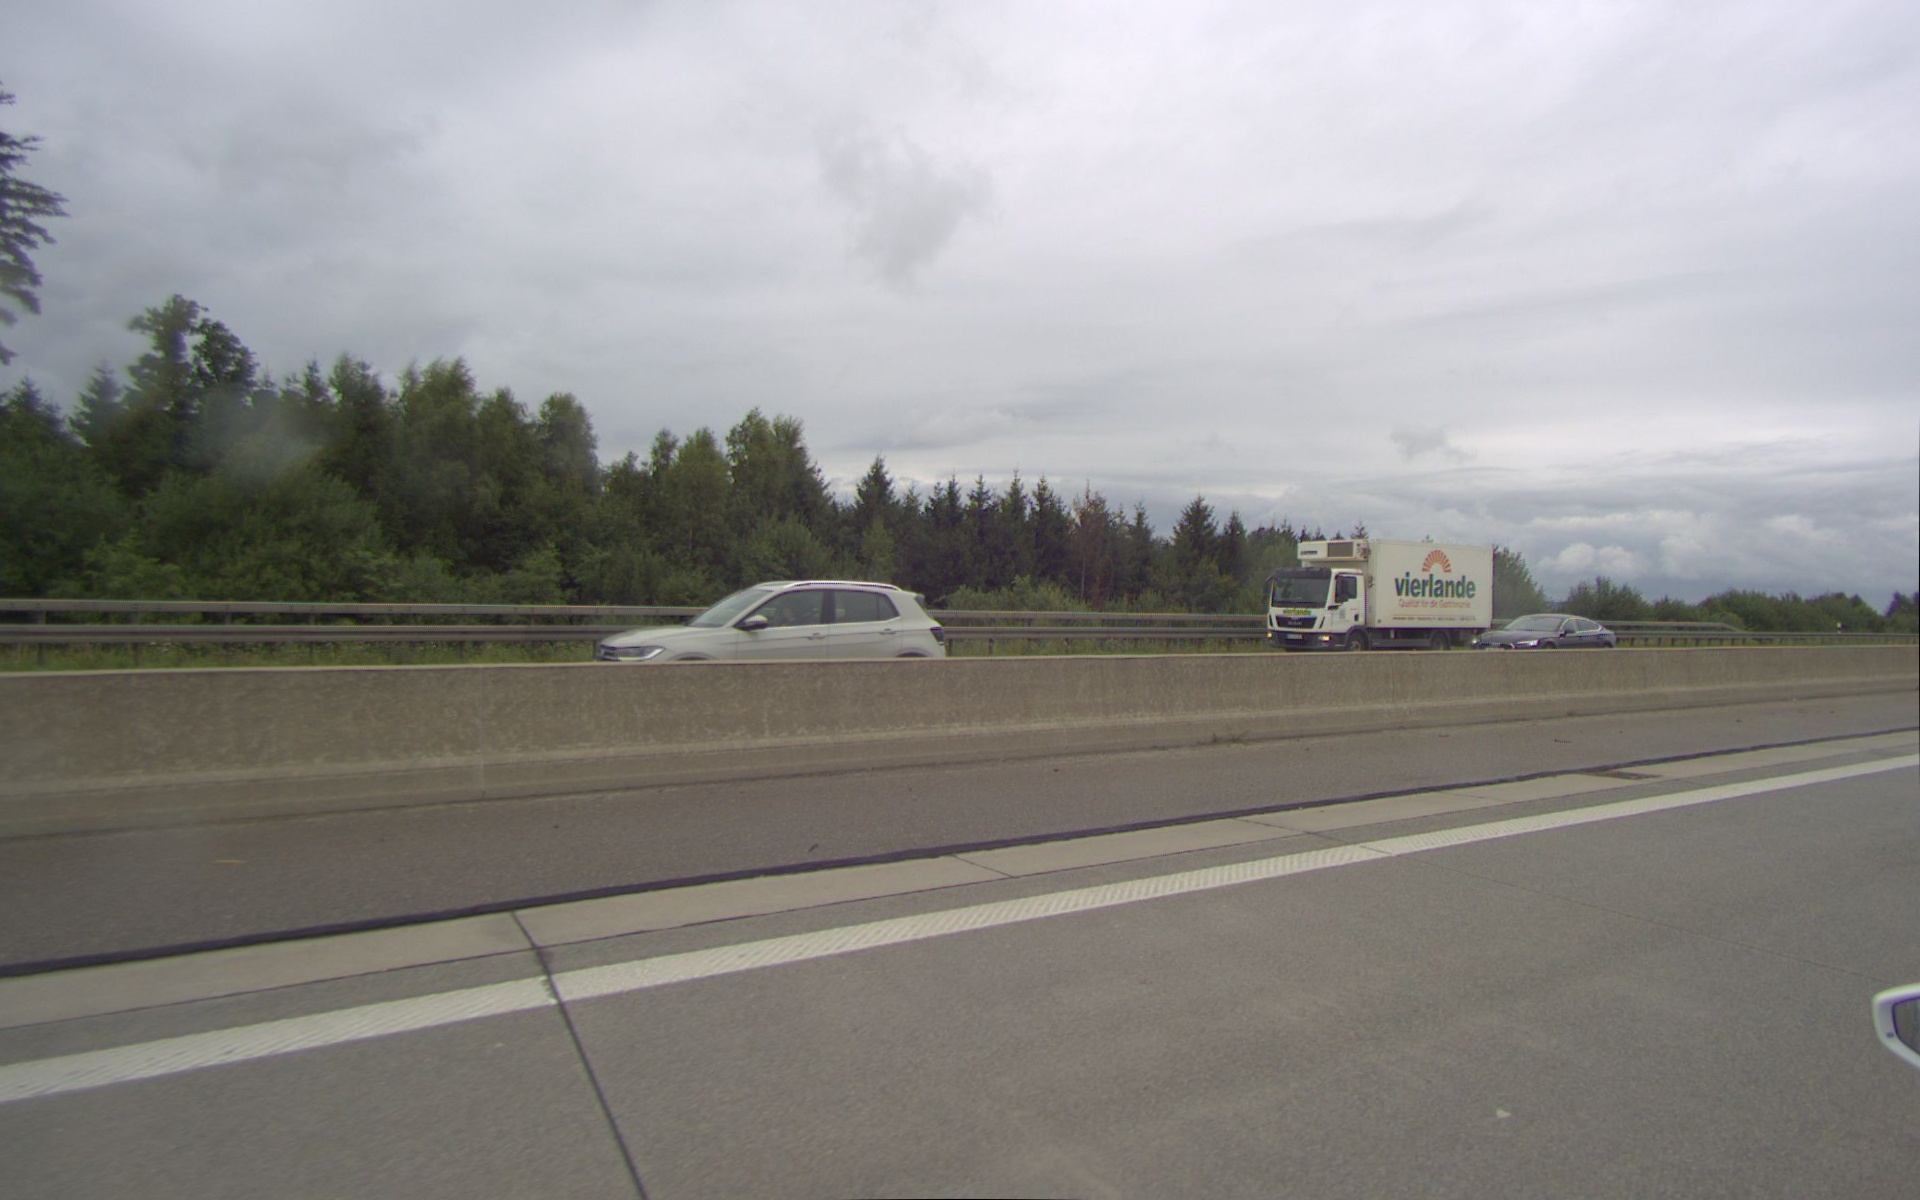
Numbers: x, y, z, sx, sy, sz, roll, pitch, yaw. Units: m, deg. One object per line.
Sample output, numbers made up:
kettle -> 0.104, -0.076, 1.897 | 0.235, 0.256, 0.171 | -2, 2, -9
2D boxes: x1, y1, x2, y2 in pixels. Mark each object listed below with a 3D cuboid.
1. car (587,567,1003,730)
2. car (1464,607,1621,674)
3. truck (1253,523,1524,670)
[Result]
car -> -1.836, 0.505, 11.644 | 4.446, 1.587, 1.734 | 1, 0, -30
car -> 15.193, 1.020, 26.151 | 4.359, 1.587, 1.621 | 1, 0, -31
truck -> 13.033, -0.029, 30.232 | 8.798, 3.915, 2.884 | 1, 0, -31
